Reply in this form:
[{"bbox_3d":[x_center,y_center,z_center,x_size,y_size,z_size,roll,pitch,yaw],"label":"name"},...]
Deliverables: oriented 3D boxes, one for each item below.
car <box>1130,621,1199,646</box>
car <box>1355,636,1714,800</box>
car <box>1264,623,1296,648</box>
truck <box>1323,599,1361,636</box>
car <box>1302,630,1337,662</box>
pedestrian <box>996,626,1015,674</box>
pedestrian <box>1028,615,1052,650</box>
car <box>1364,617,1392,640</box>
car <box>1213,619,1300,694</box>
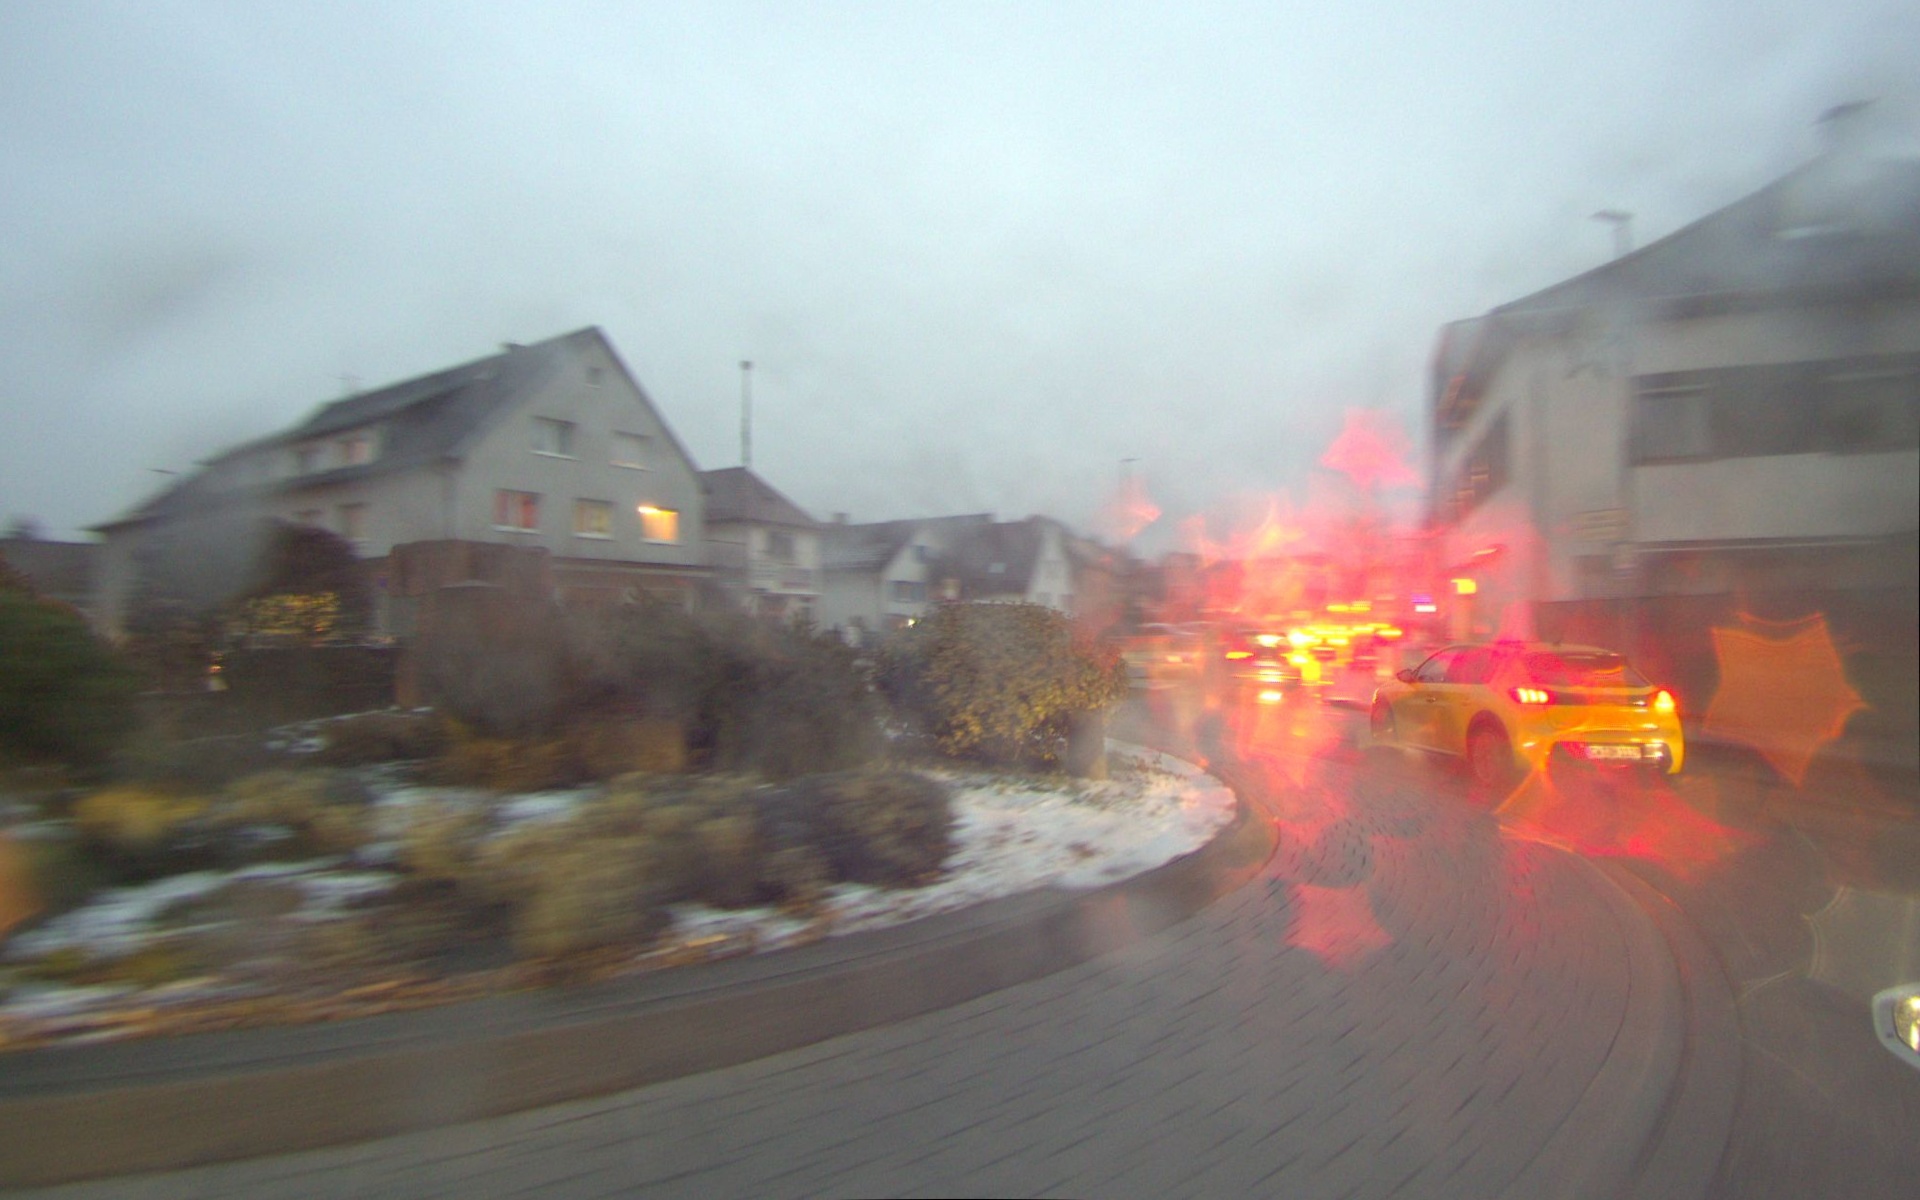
[{"bbox_3d":[13.519,2.200,66.453,4.237,1.662,1.846,0,-1,20],"label":"car"},{"bbox_3d":[5.928,1.126,11.004,1.681,1.440,4.014,1,-2,1],"label":"car"},{"bbox_3d":[22.113,2.424,69.289,1.713,1.589,4.059,0,-1,24],"label":"car"},{"bbox_3d":[32.295,1.464,84.772,2.672,3.050,5.988,0,-1,24],"label":"truck"},{"bbox_3d":[20.276,2.541,56.642,1.694,1.653,3.999,0,-1,22],"label":"car"},{"bbox_3d":[1.763,1.933,38.727,0.716,1.842,0.531,0,-1,1],"label":"pedestrian"},{"bbox_3d":[3.153,1.272,39.592,0.771,1.366,0.716,0,-1,24],"label":"pedestrian"},{"bbox_3d":[28.570,1.915,68.621,1.664,1.487,3.716,-1,-1,24],"label":"car"},{"bbox_3d":[7.221,1.318,24.751,1.883,1.636,3.952,-1,-1,14],"label":"car"}]
